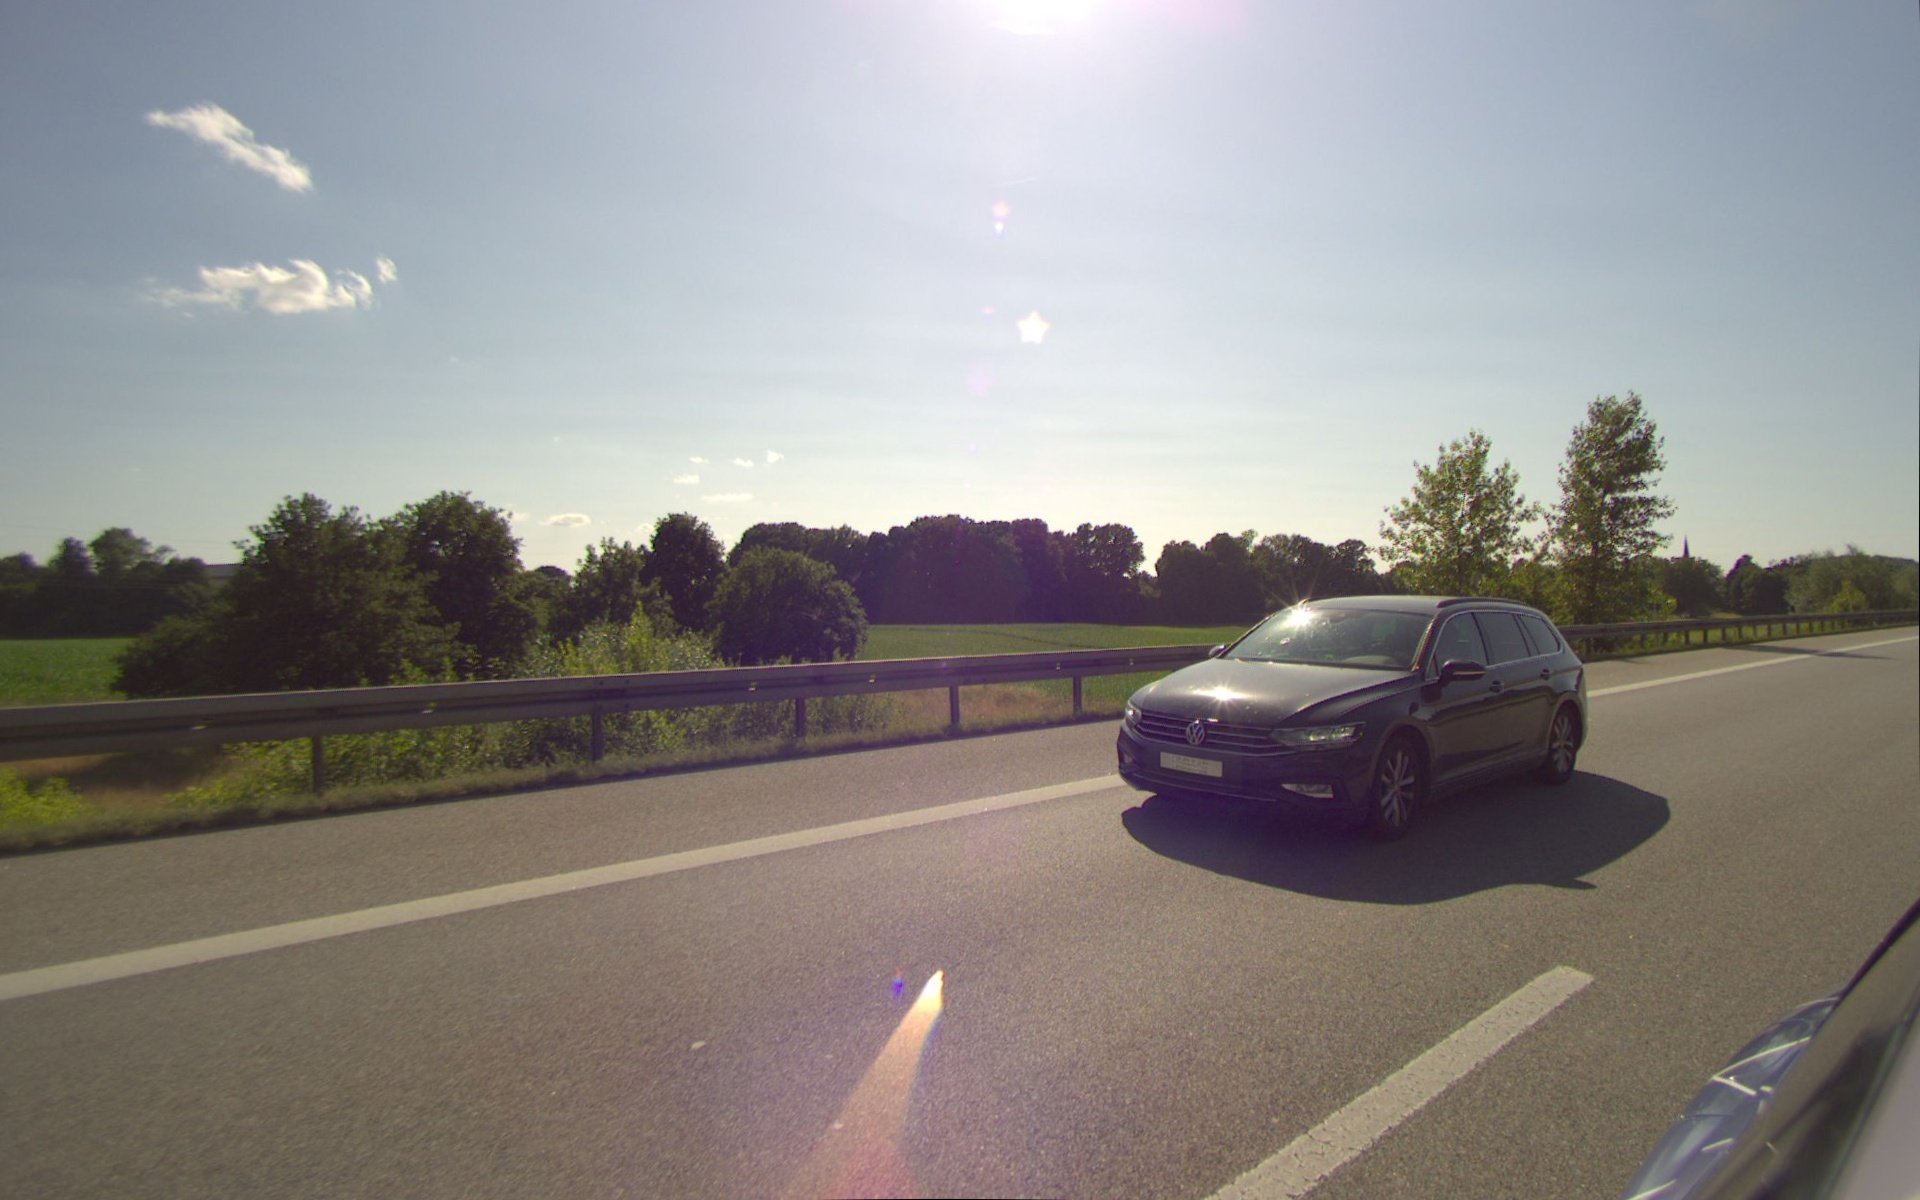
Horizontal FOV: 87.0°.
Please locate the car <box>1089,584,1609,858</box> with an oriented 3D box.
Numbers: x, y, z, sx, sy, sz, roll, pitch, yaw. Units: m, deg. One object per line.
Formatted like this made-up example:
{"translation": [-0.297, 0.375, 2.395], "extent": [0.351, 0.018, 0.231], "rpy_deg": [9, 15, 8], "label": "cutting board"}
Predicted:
{"translation": [3.037, 0.607, 7.381], "extent": [4.337, 1.417, 1.721], "rpy_deg": [-1, 1, -41], "label": "car"}
